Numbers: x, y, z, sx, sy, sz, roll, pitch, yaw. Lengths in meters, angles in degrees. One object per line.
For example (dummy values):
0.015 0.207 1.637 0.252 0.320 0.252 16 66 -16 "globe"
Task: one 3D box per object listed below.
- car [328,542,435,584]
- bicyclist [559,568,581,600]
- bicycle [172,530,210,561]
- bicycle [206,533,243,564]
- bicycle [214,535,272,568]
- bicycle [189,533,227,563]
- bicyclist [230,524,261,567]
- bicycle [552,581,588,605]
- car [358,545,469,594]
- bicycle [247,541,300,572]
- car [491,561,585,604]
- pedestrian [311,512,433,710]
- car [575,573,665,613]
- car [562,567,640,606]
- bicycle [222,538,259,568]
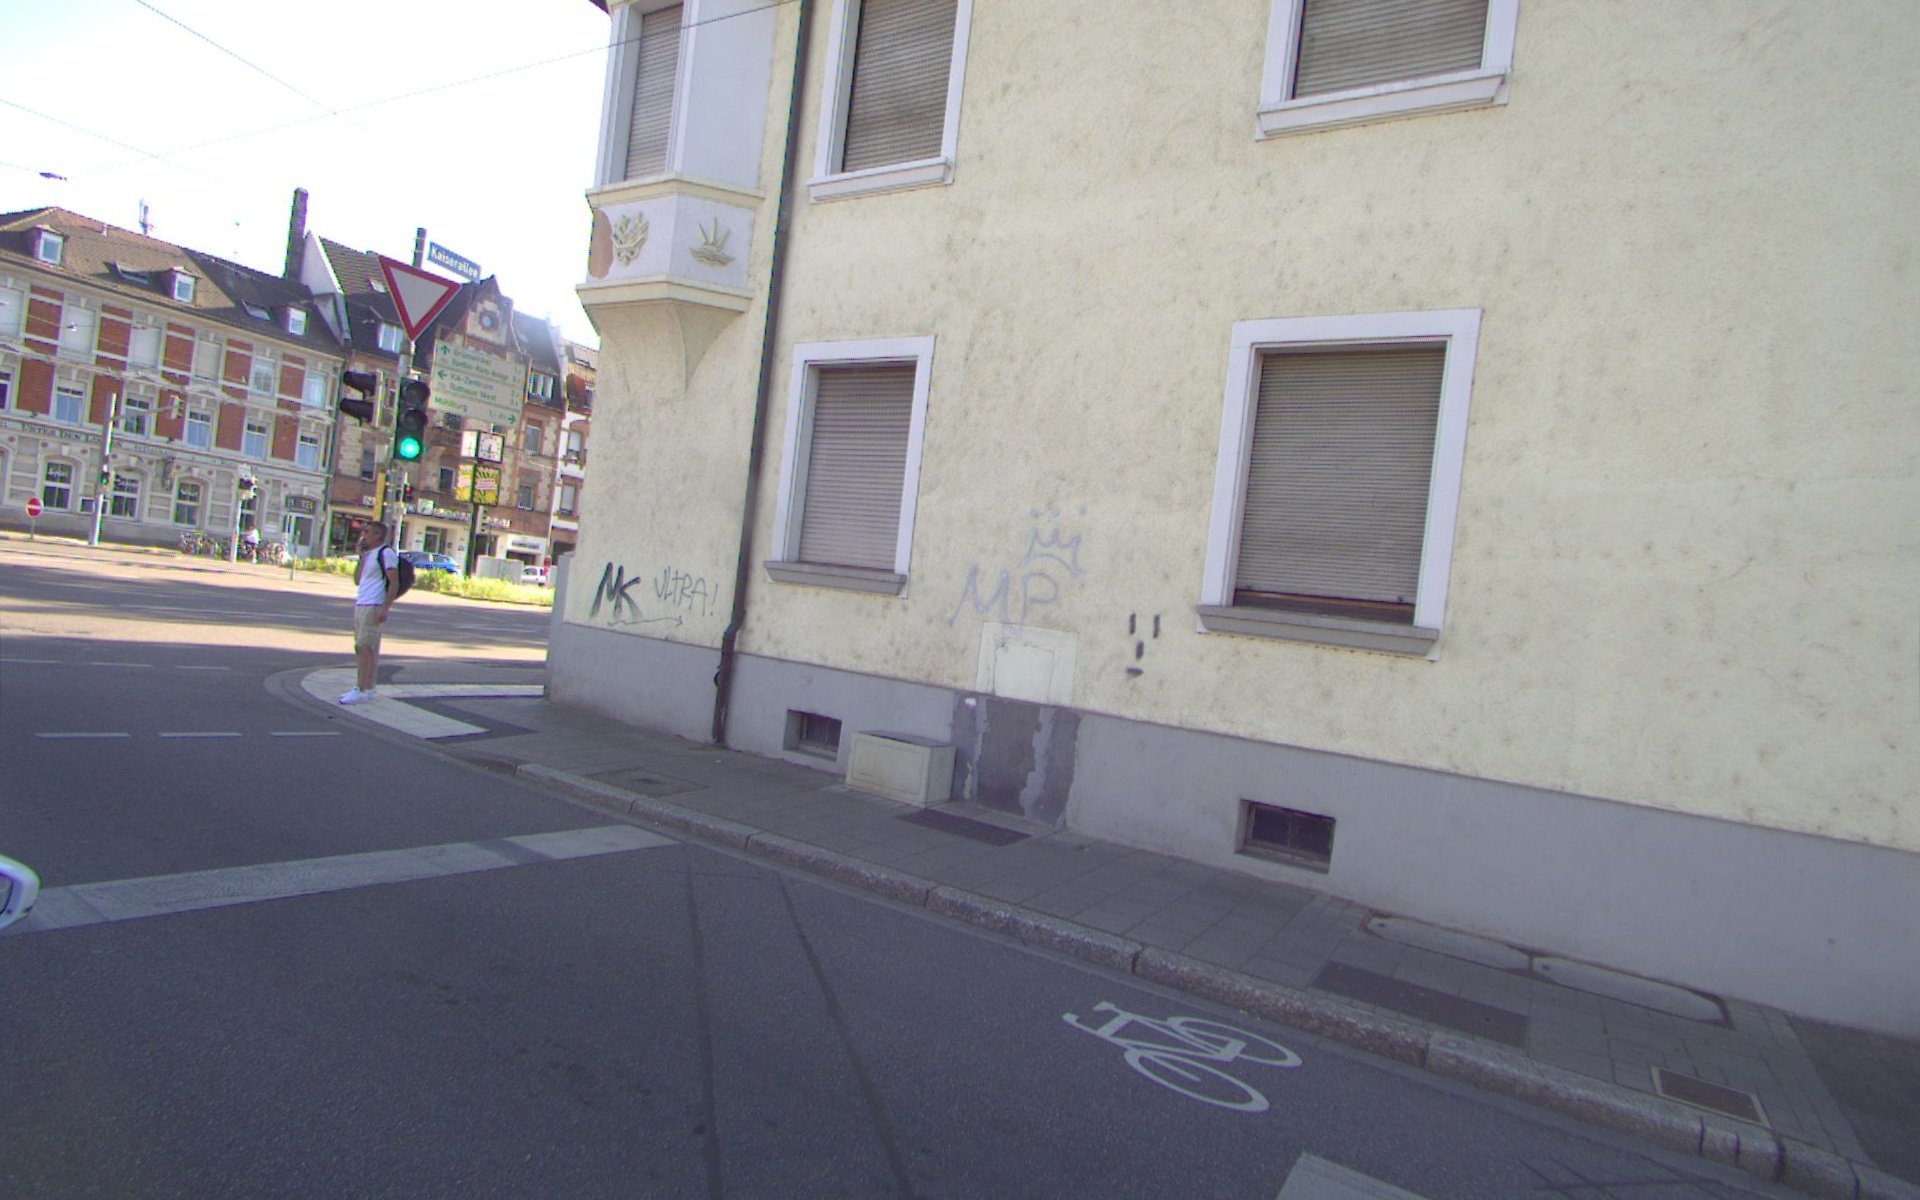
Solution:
-27.800 -1.740 48.461 1.815 1.429 3.993 7 -1 31 "car"
-23.533 -0.951 60.755 0.591 1.785 0.904 7 0 30 "bicyclist"
-34.856 -2.479 45.567 1.935 1.205 0.678 7 0 33 "bicycle"
-34.172 -2.393 46.736 1.935 1.205 0.678 7 0 33 "bicycle"
-32.368 -2.190 45.451 0.592 1.205 1.962 7 -1 34 "bicycle"
-34.516 -2.394 46.180 1.935 1.205 0.678 7 0 33 "bicycle"
-32.303 -2.472 45.488 0.592 1.785 0.873 7 0 34 "bicyclist"
-23.551 -0.418 60.829 0.591 1.205 1.964 7 -1 30 "bicycle"
-25.375 -1.379 46.825 1.922 1.688 3.993 7 -1 31 "car"
-32.855 -2.078 48.161 0.667 1.205 1.968 7 -1 20 "bicycle"
-21.892 -0.902 52.328 1.922 1.688 3.993 7 -1 31 "car"
-5.591 0.098 9.595 0.661 1.764 0.689 5 2 2 "pedestrian"
-19.177 -0.360 56.924 1.922 1.688 4.480 7 -1 31 "car"
-23.200 -0.842 65.195 1.922 1.988 4.411 7 -1 31 "car"
-33.830 -2.208 47.309 1.935 1.205 0.678 7 0 33 "bicycle"
